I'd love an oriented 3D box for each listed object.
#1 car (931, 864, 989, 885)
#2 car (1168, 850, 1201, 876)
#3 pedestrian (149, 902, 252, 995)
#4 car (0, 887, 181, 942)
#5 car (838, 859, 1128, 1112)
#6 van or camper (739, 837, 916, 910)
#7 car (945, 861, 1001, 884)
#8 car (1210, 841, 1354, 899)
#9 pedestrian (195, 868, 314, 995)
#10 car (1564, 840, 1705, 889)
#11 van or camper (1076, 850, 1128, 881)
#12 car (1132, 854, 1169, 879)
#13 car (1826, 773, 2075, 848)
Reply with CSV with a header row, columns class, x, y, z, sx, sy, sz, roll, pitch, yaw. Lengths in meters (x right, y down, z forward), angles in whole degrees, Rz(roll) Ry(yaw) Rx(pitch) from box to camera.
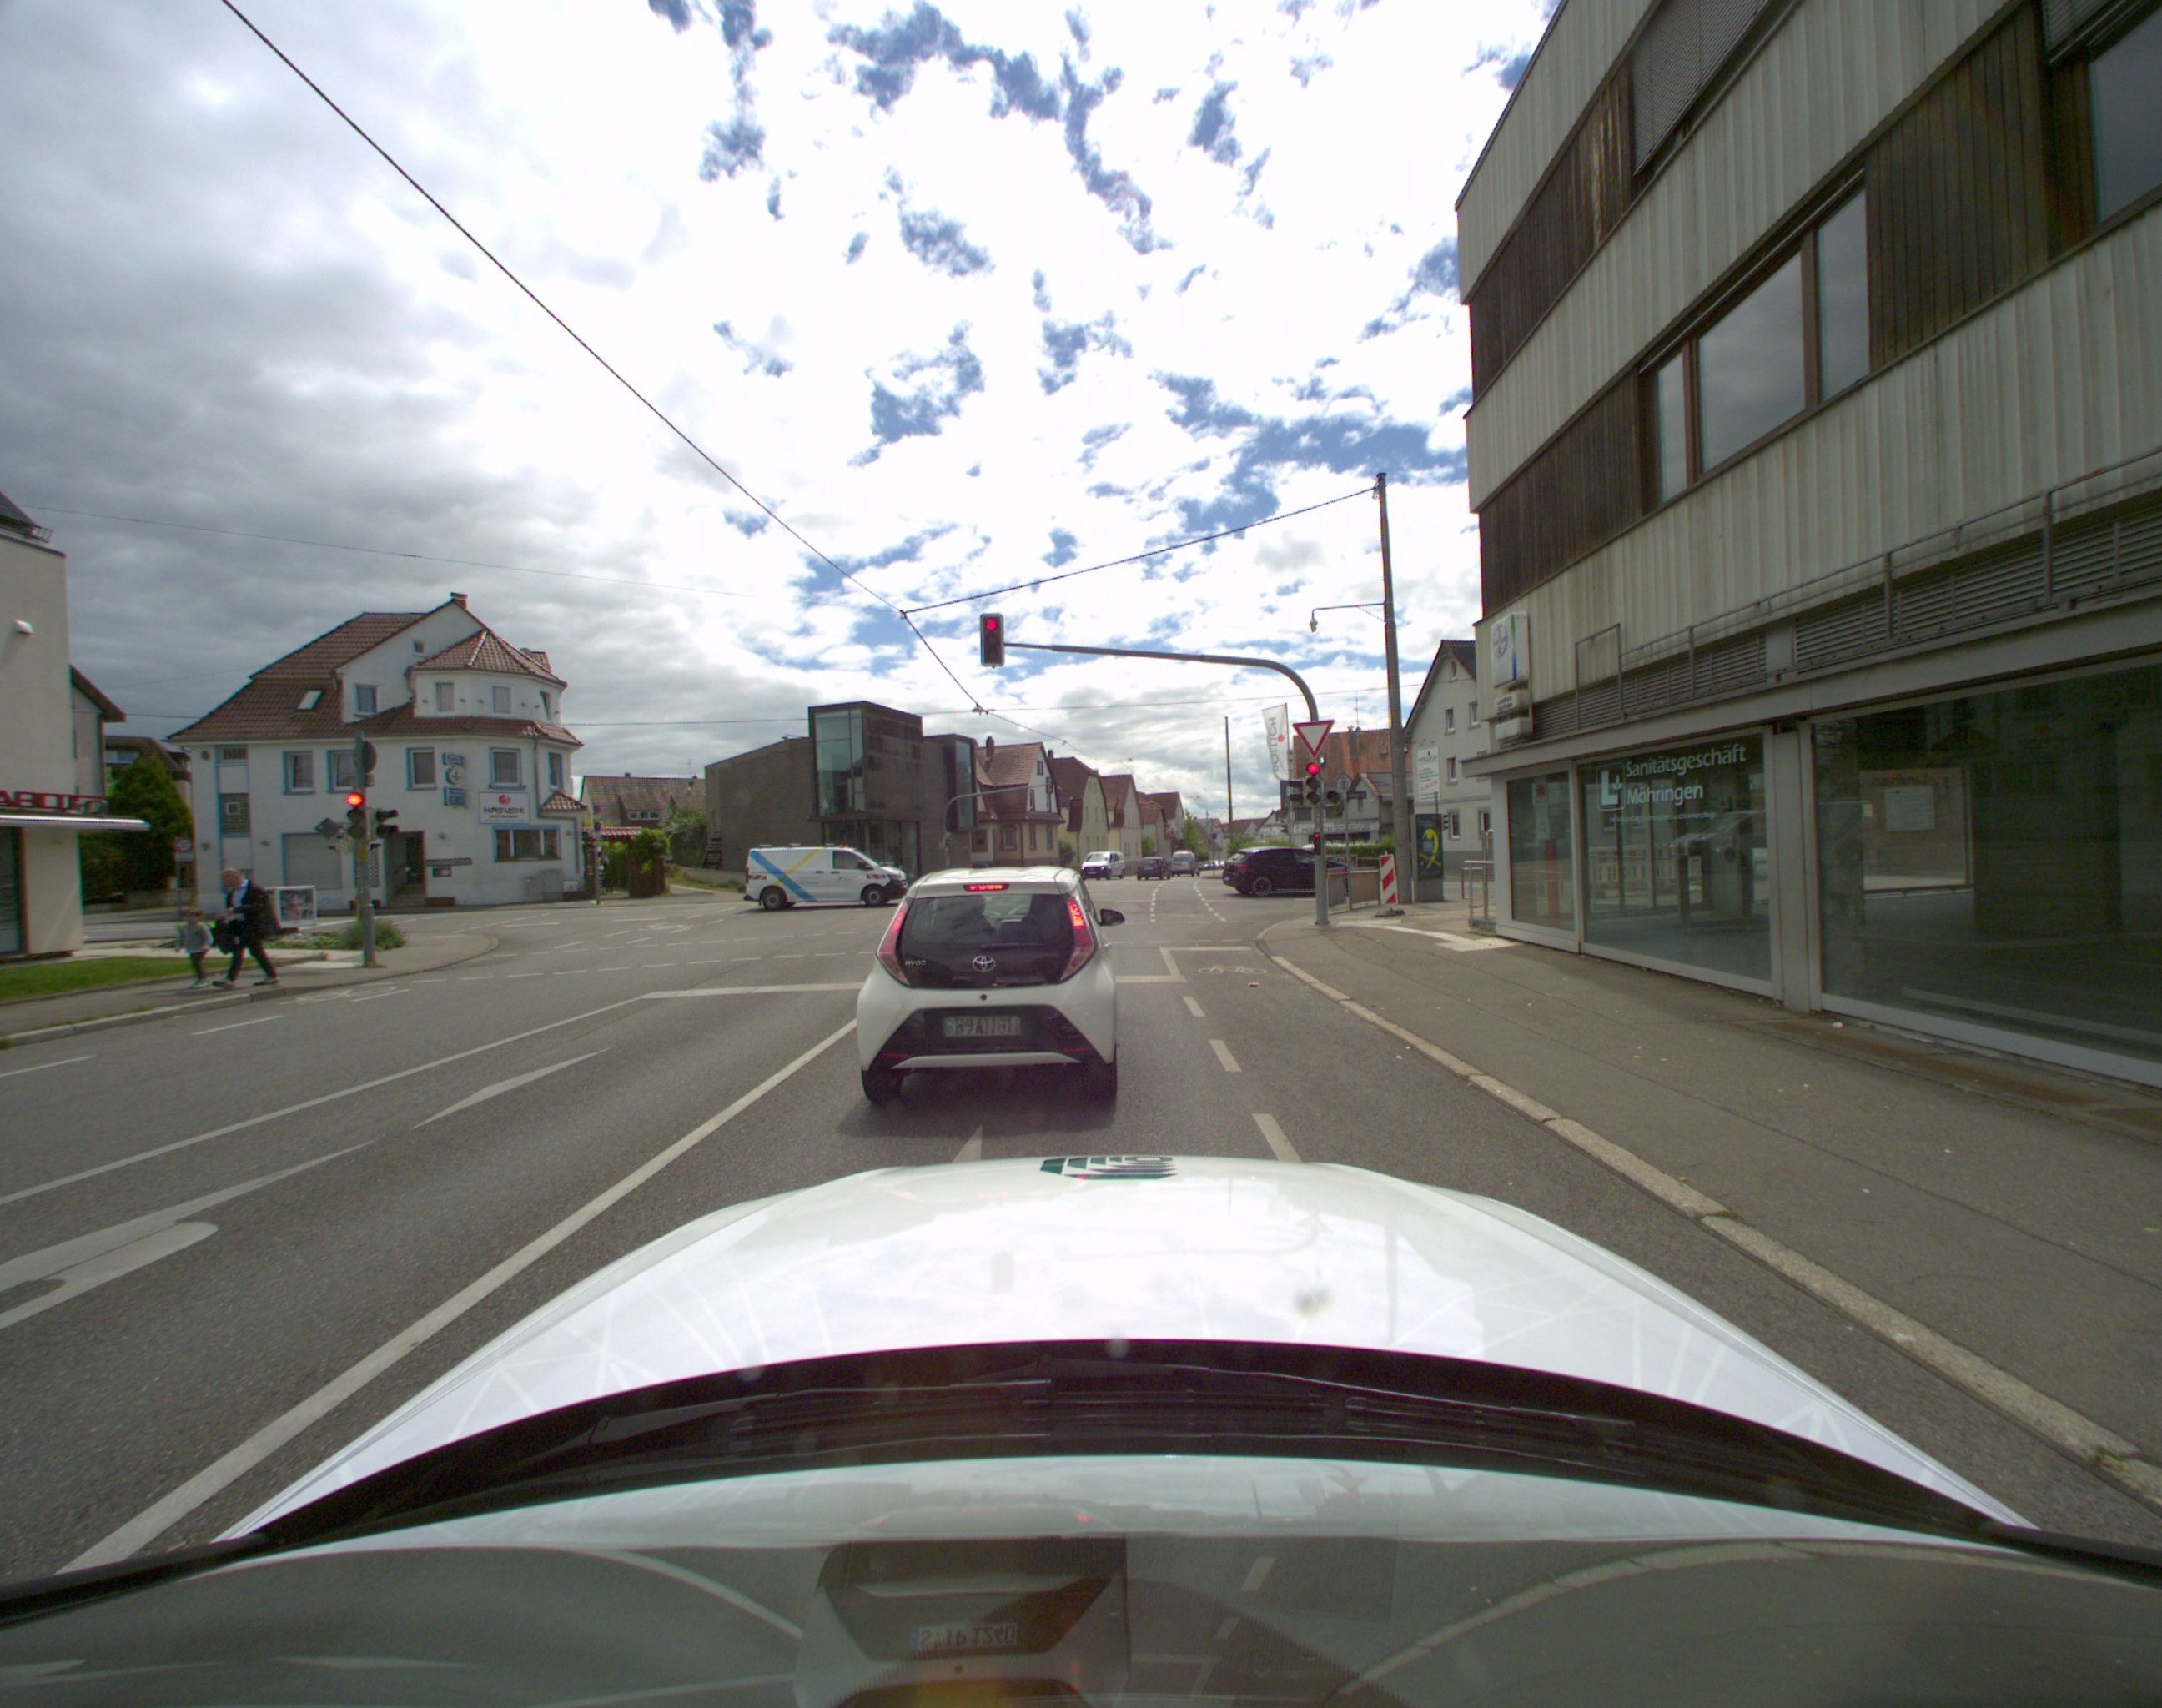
class,x,y,z,sx,sy,sz,roll,pitch,yaw
car,-8.475,1.458,57.098,3.589,1.419,1.697,-1,0,13
car,7.892,0.674,61.952,1.979,1.849,4.089,-1,0,15
pedestrian,-12.601,1.336,11.682,0.643,1.221,0.734,-2,0,-5
car,-30.043,1.770,24.050,4.494,1.456,1.893,-1,0,-6
car,-0.573,0.780,6.444,1.691,1.456,3.298,-1,0,0
van or camper,-8.065,0.604,26.378,5.113,2.077,1.995,-2,0,-8
car,-7.828,1.365,59.208,3.589,1.605,1.697,-1,0,13
car,6.999,0.506,28.589,4.495,1.742,1.996,-2,2,-7
pedestrian,-11.863,1.079,11.721,0.813,1.721,0.823,-2,0,-5
car,21.156,0.394,31.208,4.291,1.675,1.994,-2,0,-9
van or camper,1.451,0.727,53.889,2.099,1.926,5.308,-1,0,17
car,4.477,0.760,51.924,1.981,1.486,4.011,-1,0,10
car,25.571,-1.205,24.183,4.666,2.014,2.009,-1,0,16
